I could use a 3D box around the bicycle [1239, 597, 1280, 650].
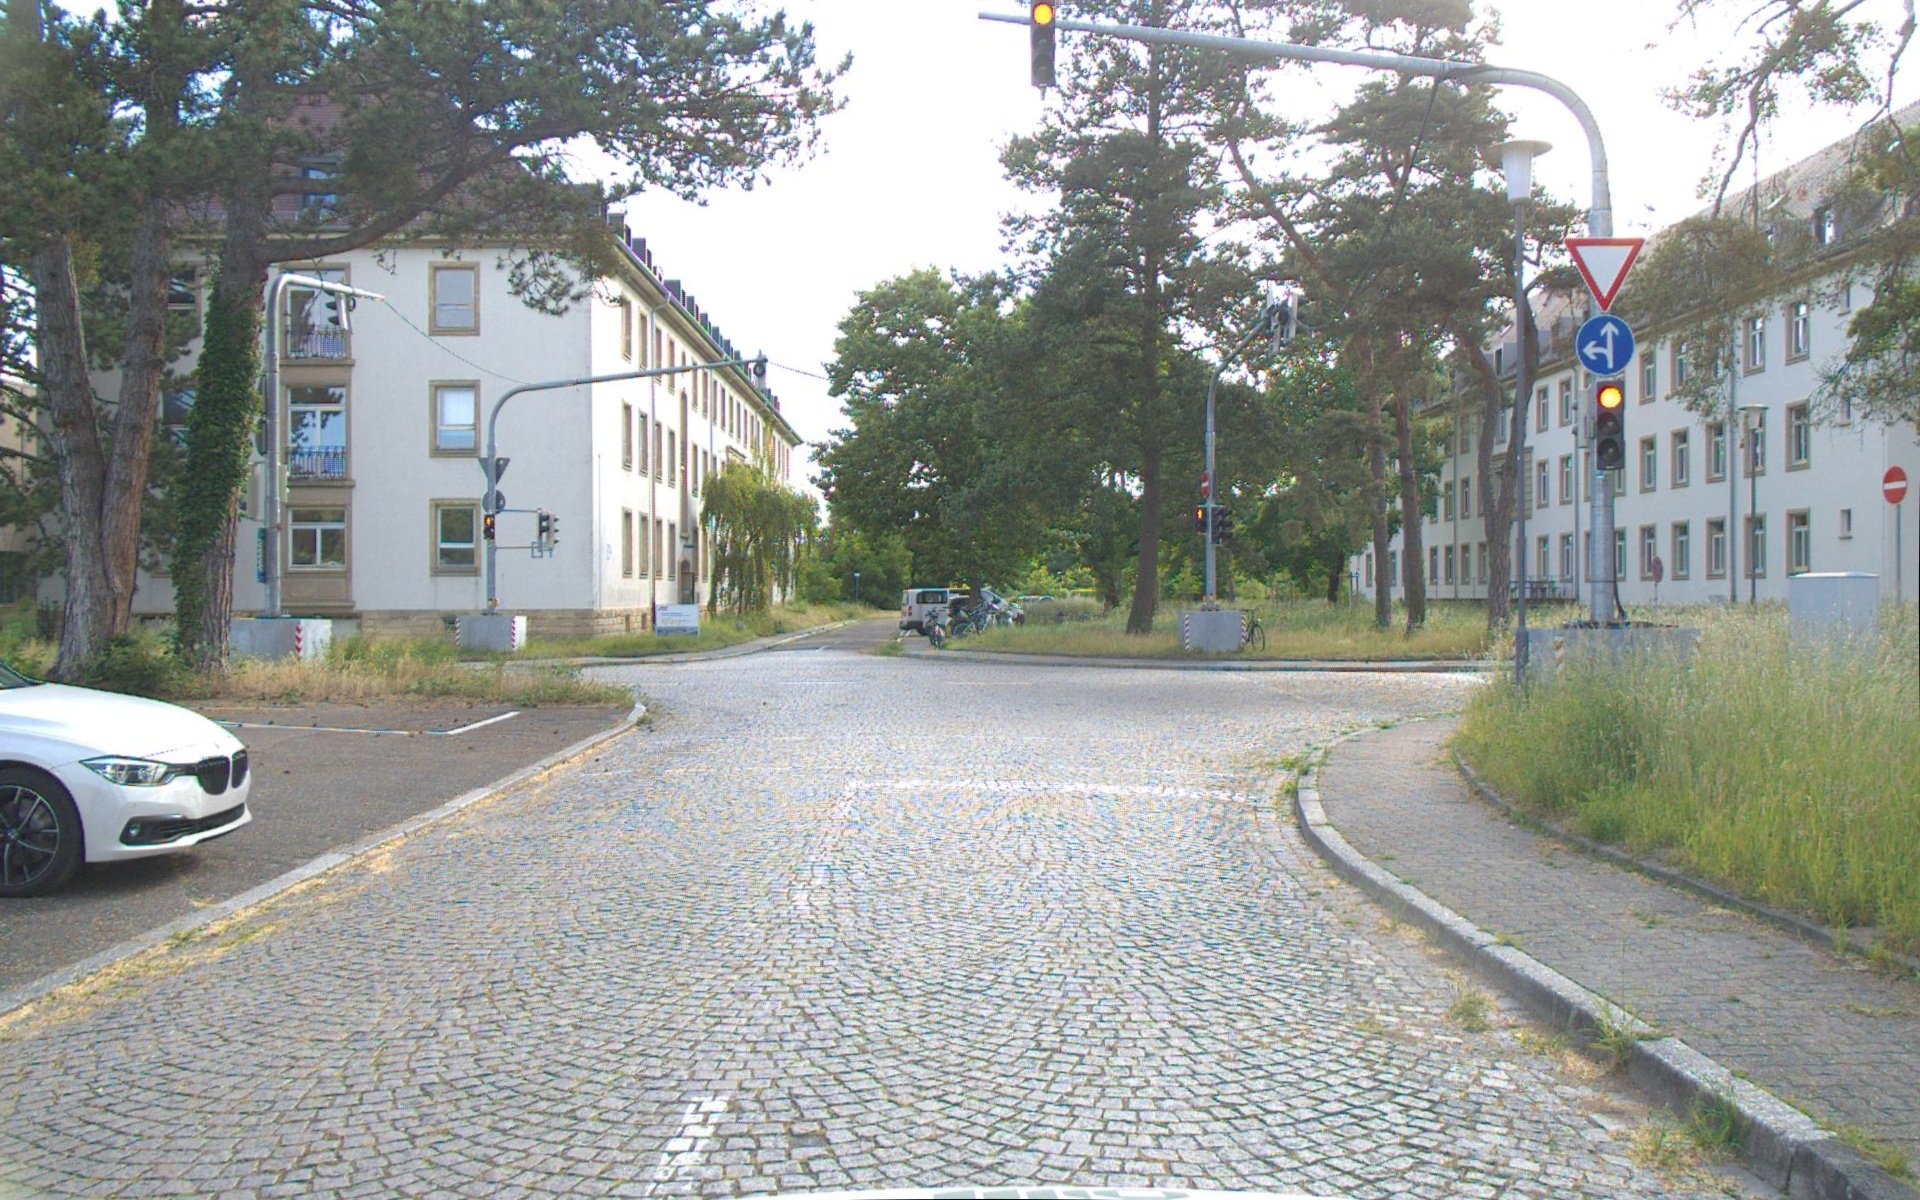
[{"bbox_3d":[7.132,0.548,39.487,0.708,1.189,2.738,1,0,6],"label":"bicycle"}]

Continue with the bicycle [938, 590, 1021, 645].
[{"bbox_3d":[0.663,0.583,55.958,2.717,1.723,1.120,2,0,3],"label":"bicycle"}]

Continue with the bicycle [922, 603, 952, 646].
[{"bbox_3d":[-0.636,0.691,46.901,0.711,1.127,2.462,-5,0,1],"label":"bicycle"}]

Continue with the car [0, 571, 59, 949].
[{"bbox_3d":[-5.980,0.630,6.584,3.755,1.635,1.734,2,0,-4],"label":"car"}]

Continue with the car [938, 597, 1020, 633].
[{"bbox_3d":[0.733,0.586,65.592,3.077,1.378,1.618,0,0,-7],"label":"car"}]

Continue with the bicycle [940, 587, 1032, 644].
[{"bbox_3d":[0.790,0.461,51.200,2.722,1.724,1.119,0,0,-6],"label":"bicycle"}]

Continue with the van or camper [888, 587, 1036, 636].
[{"bbox_3d":[0.080,0.465,69.161,5.931,1.983,1.992,0,0,-15],"label":"van or camper"}]

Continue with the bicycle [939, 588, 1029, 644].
[{"bbox_3d":[0.753,0.488,52.394,2.723,1.724,1.118,0,0,-8],"label":"bicycle"}]

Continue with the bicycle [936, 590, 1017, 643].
[{"bbox_3d":[0.567,0.568,57.295,2.718,1.723,1.120,2,0,0],"label":"bicycle"}]

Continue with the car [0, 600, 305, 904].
[{"bbox_3d":[-6.194,0.722,9.117,4.390,1.467,1.829,2,0,-4],"label":"car"}]
